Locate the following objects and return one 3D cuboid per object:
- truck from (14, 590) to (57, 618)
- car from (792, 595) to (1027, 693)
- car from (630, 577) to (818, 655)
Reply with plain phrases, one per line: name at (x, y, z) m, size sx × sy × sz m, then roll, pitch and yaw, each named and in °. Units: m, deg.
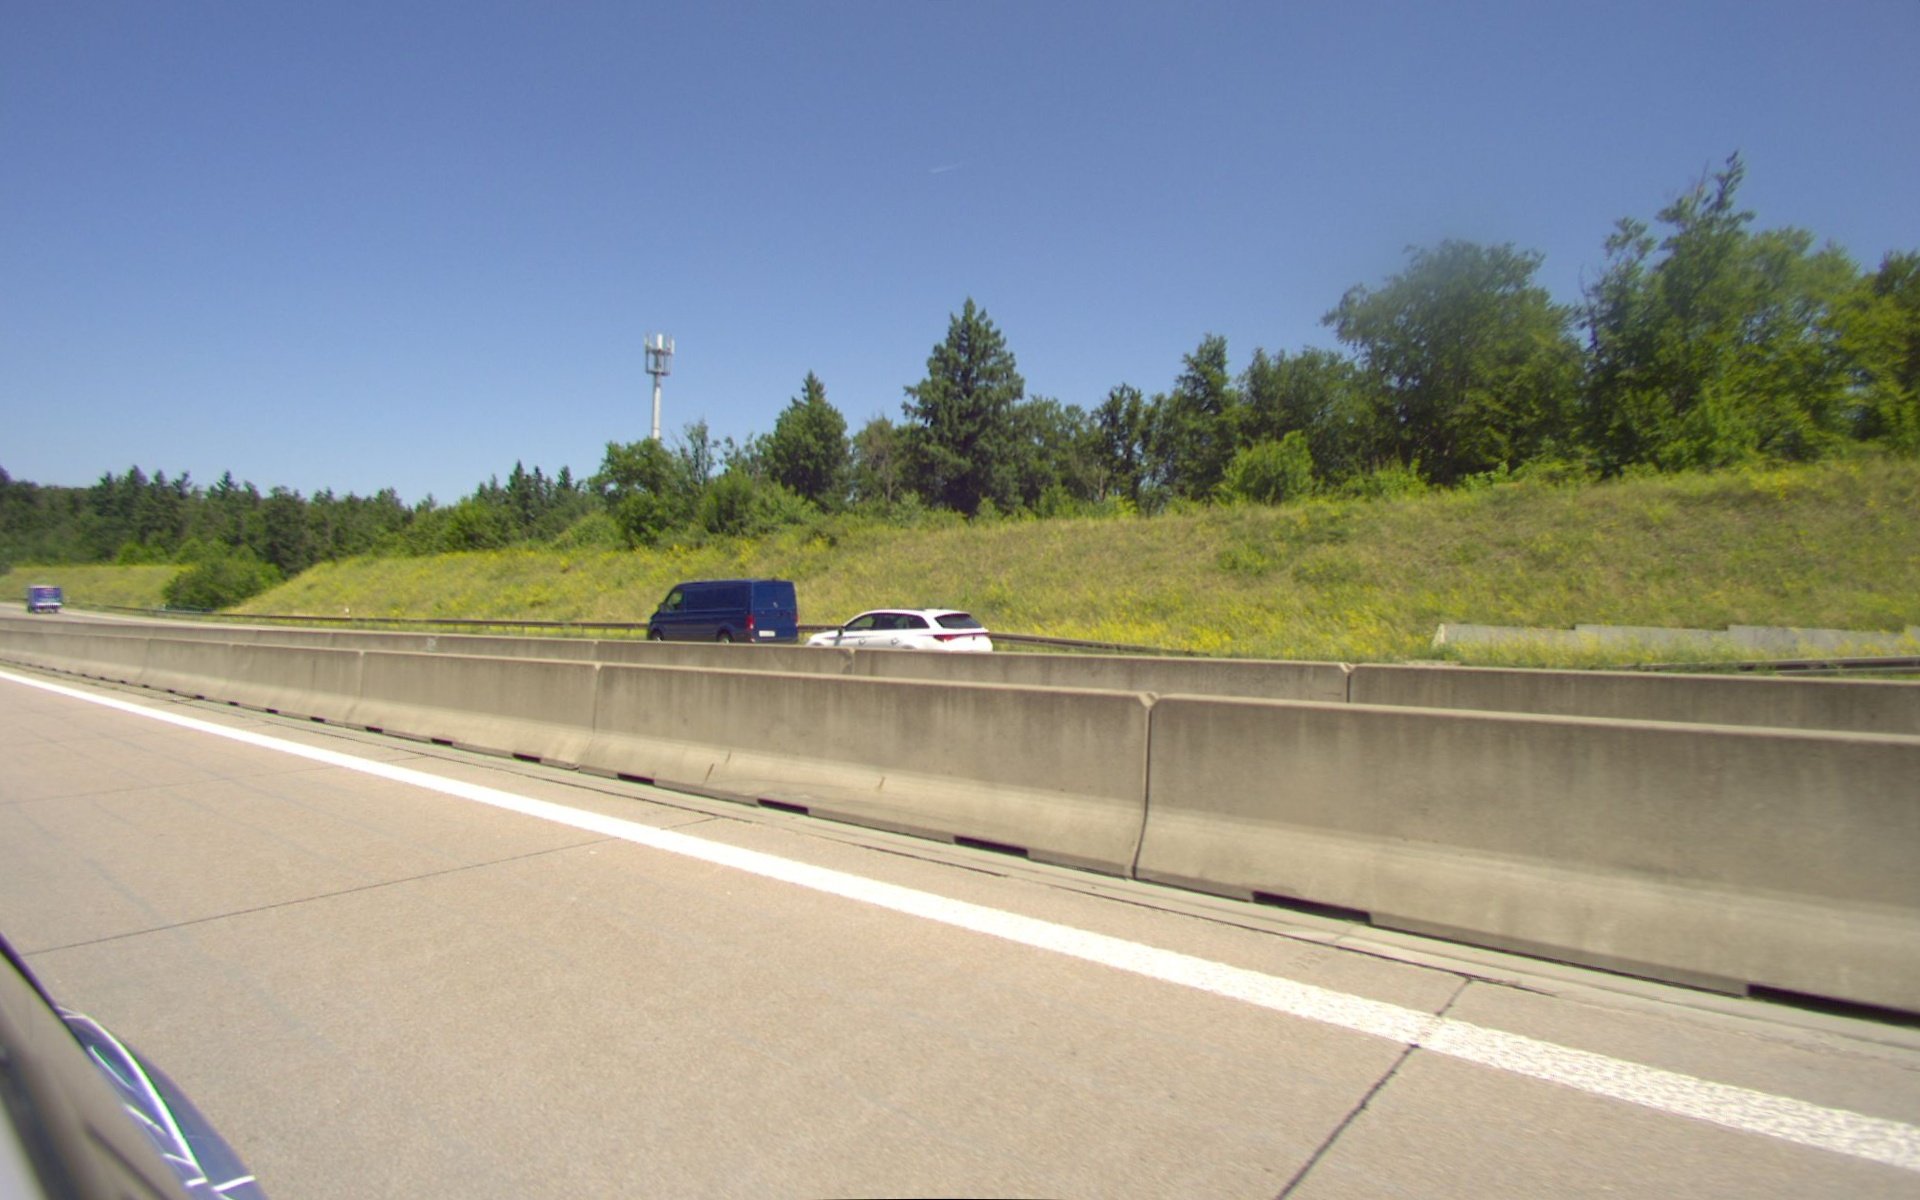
truck at (-104.702, 0.439, 114.584) m, size 7.829 × 3.011 × 2.536 m, roll 0°, pitch 1°, yaw 40°
car at (-1.150, 0.843, 21.166) m, size 4.850 × 1.821 × 1.988 m, roll -1°, pitch 0°, yaw 40°
car at (-7.610, 0.500, 32.170) m, size 6.454 × 2.227 × 2.455 m, roll -1°, pitch 0°, yaw 40°
